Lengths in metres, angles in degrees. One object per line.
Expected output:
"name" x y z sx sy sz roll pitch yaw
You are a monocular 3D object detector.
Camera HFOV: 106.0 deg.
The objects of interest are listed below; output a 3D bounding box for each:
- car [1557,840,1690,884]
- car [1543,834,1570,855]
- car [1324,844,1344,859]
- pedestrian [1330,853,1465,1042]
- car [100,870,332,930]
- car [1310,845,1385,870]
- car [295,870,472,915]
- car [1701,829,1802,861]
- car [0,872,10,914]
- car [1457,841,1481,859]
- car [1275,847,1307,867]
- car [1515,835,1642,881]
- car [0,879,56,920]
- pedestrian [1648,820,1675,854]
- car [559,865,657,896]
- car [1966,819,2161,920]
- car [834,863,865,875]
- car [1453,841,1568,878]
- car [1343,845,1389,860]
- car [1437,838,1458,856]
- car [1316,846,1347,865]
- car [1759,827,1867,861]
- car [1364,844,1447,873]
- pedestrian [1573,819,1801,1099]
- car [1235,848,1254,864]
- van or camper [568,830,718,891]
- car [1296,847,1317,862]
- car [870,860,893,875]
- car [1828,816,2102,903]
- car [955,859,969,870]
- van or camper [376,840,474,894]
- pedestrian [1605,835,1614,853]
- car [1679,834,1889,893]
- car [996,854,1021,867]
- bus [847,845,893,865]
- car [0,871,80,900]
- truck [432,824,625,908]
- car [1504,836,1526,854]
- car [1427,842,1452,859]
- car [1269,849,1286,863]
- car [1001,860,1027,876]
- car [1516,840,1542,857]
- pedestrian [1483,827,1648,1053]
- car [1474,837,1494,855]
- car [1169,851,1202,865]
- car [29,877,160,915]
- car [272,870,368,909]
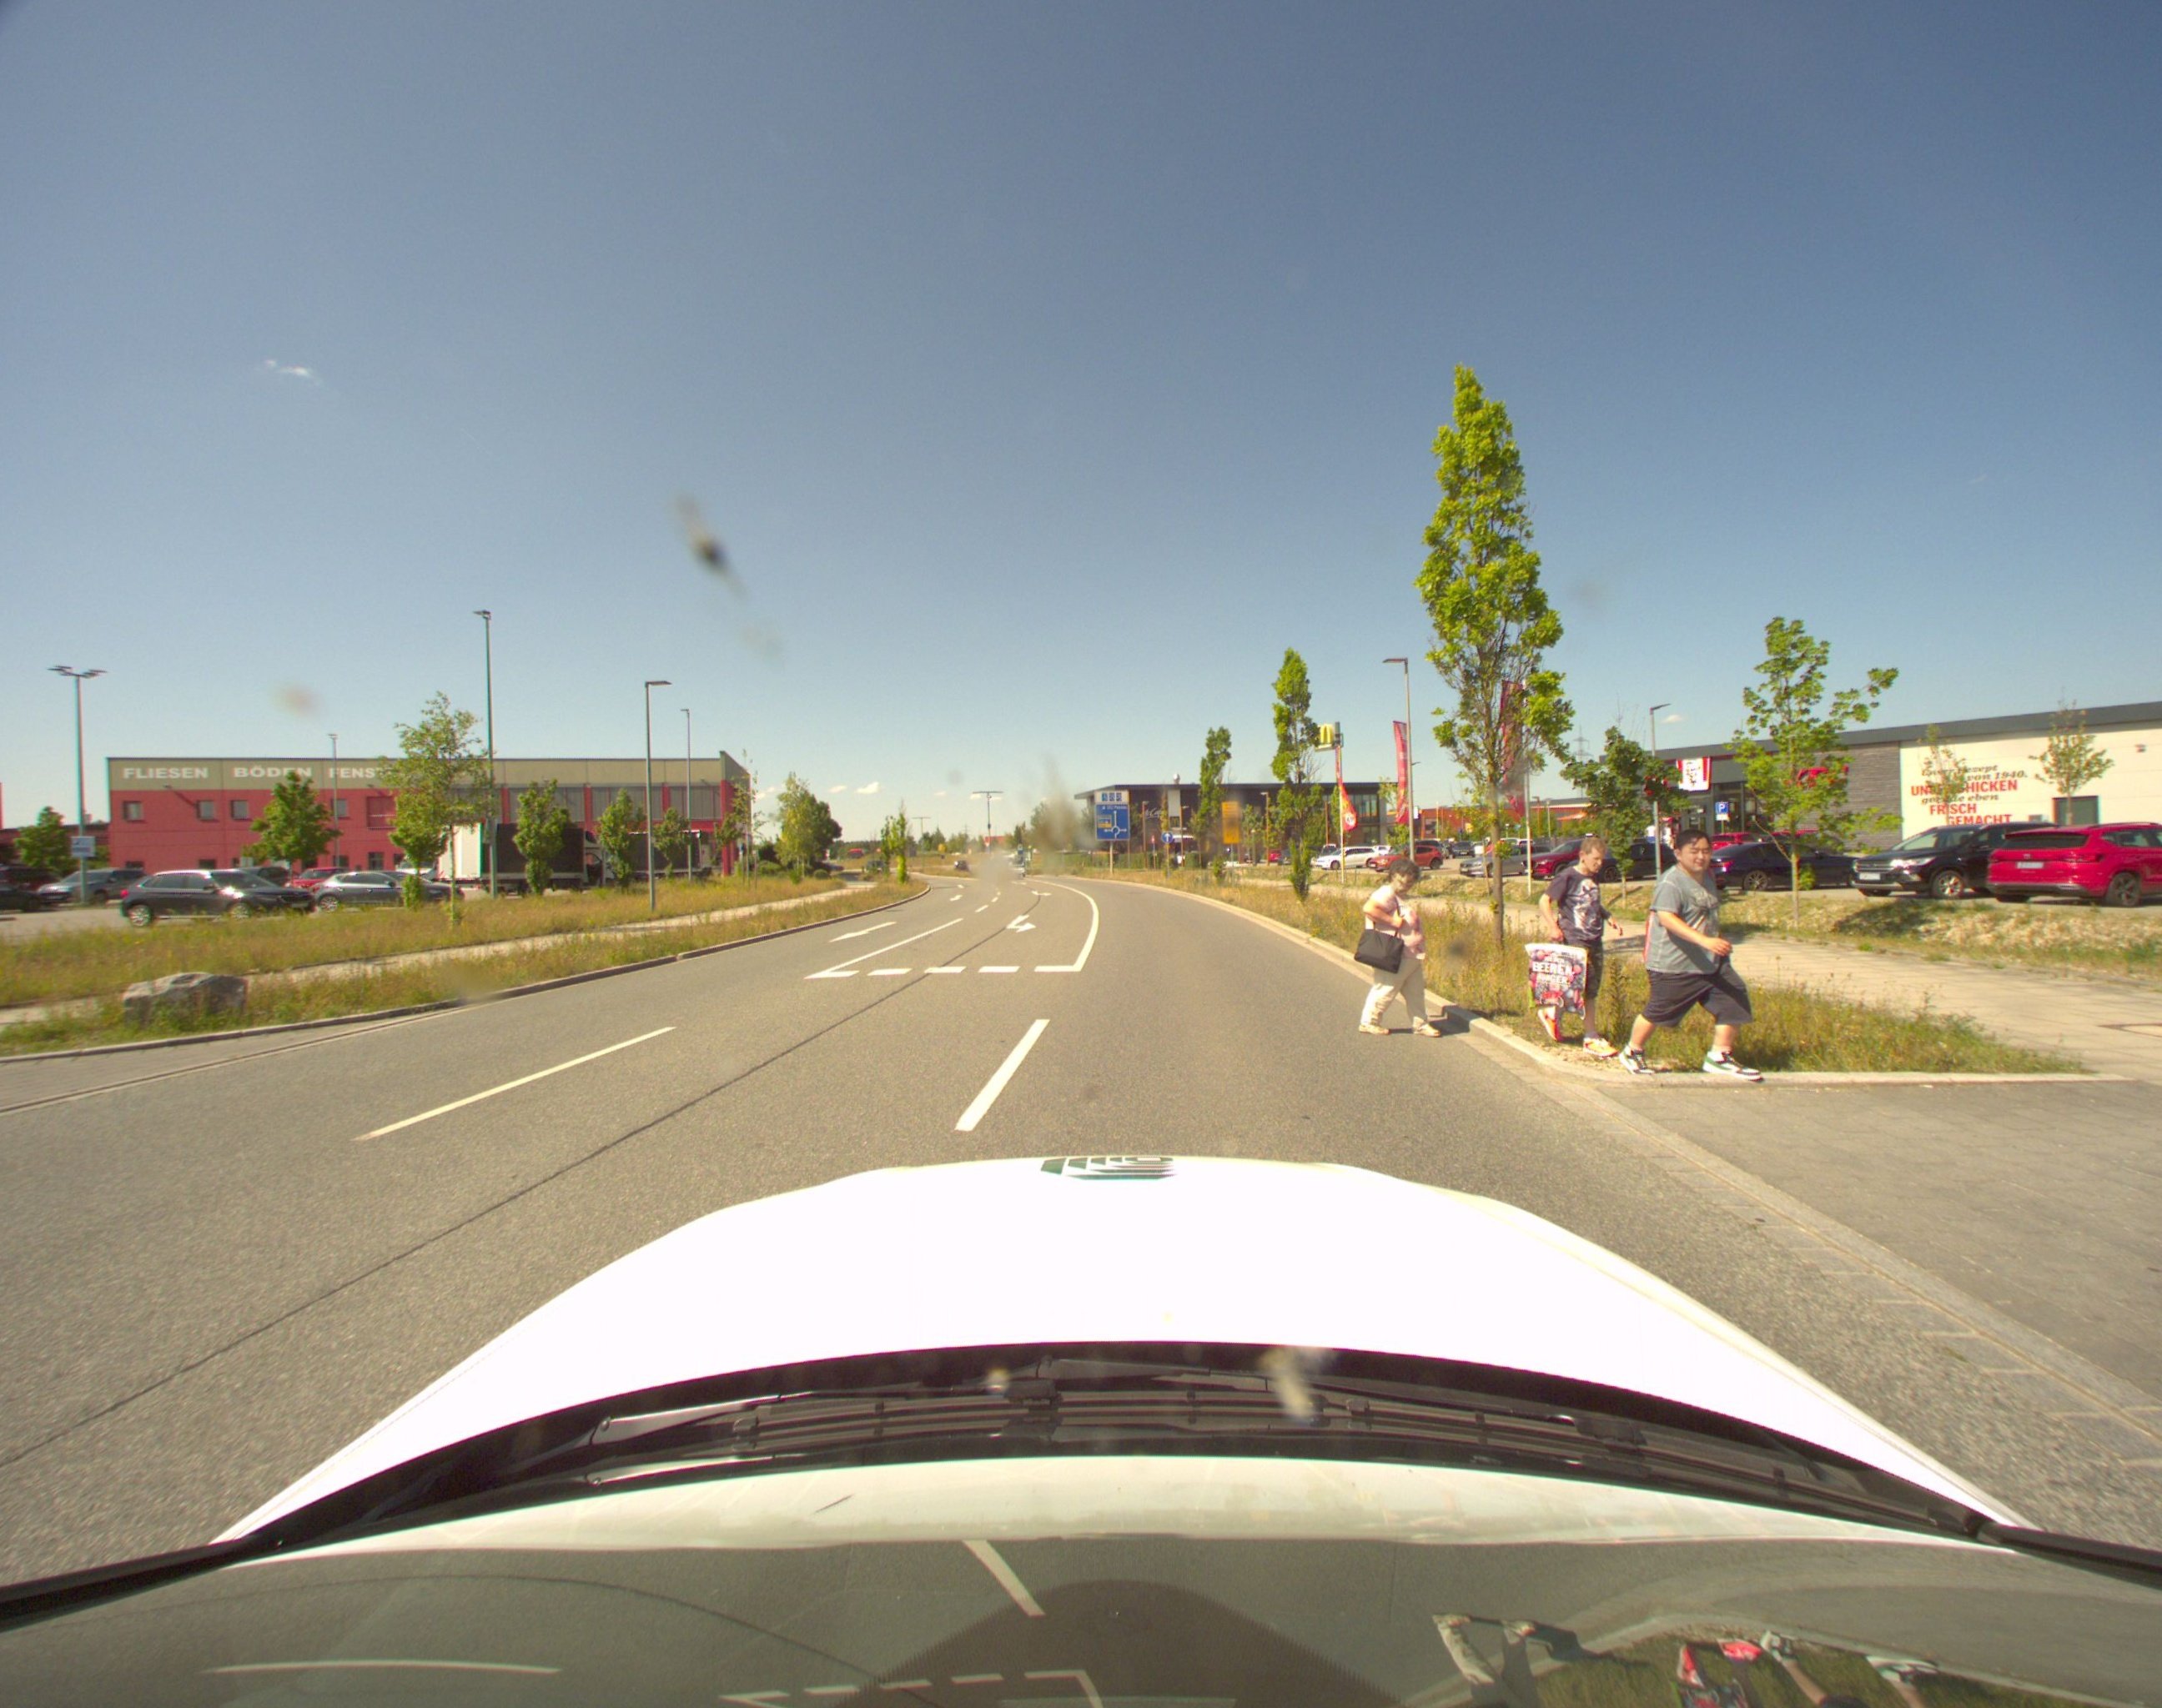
"car" 20.901 0.275 31.441 4.153 1.449 1.786 -3 0 -9
"car" 43.457 -0.882 74.453 1.769 1.757 4.194 -2 0 26
"car" 29.074 -0.313 93.525 1.776 1.702 4.023 -2 0 24
"pedestrian" 2.611 0.733 6.829 0.789 1.470 0.950 -1 0 4
"car" -24.758 1.286 23.446 4.564 1.458 1.836 -2 0 -2
"car" 18.274 0.256 55.837 4.527 1.490 1.862 -2 0 -11
"car" -24.420 1.328 28.647 4.412 1.383 1.974 -2 0 -2
"car" 34.592 -0.448 42.037 4.568 1.431 1.857 -3 0 -18
"car" -51.060 1.825 36.309 1.837 1.994 4.354 -2 0 -18
"car" 34.078 -0.393 71.514 1.769 1.451 4.194 -2 0 26
"car" 17.136 0.231 66.294 1.681 1.462 4.194 -2 0 26
"car" 20.614 0.162 33.837 4.144 1.665 1.867 -3 0 -3
"car" -44.010 1.858 32.438 1.837 1.562 4.354 -2 0 -18
"pedestrian" 35.093 -1.039 49.234 0.914 2.013 0.887 -2 0 -14
"car" -26.699 1.469 46.129 4.372 1.552 1.830 -2 0 -13
"car" 20.513 0.244 16.187 4.404 1.734 1.786 -3 0 -9
"car" -31.898 2.013 112.139 3.752 1.517 1.783 -2 0 25
"car" 20.301 0.235 38.578 4.551 1.490 1.864 -3 0 -7
"car" 27.810 -0.140 79.533 3.949 1.373 1.810 -2 0 29
"car" 36.659 -0.696 81.427 1.769 1.757 4.194 -2 0 26
"car" 20.776 0.087 67.527 1.769 1.462 4.194 -2 0 26
"car" 35.476 -0.472 39.487 4.568 1.431 1.857 -3 0 -18
"car" 19.271 0.258 48.418 4.205 1.490 1.862 -2 0 -11
"pedestrian" 3.813 0.619 5.212 0.805 1.628 0.867 -1 0 4
"car" 18.181 0.199 90.426 1.780 1.604 4.015 -2 0 13
"van or camper" -27.004 0.357 50.536 7.698 3.468 2.545 -2 0 -12
"car" 25.451 0.052 91.925 1.777 1.513 4.022 -2 0 23
"car" -25.898 1.734 105.522 1.962 1.794 4.388 -3 0 -26
"car" 20.476 0.109 18.999 4.391 1.734 1.791 -3 0 0
"car" -15.407 1.344 105.538 1.617 1.434 3.779 -2 0 -10
"van or camper" -43.190 0.865 53.903 2.436 3.271 7.193 -2 0 -17
"pedestrian" 37.722 -0.736 58.149 0.380 1.240 0.291 -2 -1 -19
"car" 20.277 0.270 23.657 4.384 1.449 1.794 -3 0 5
"car" -12.585 1.132 140.928 3.967 2.013 1.838 -2 0 6
"bus" -39.207 0.045 151.823 2.767 3.078 12.251 -2 2 14
"car" -61.069 1.827 47.334 1.666 1.587 4.058 -2 0 -18
"truck" -25.150 0.497 37.623 2.299 3.464 7.527 -2 0 17
"car" 45.475 -0.906 85.317 1.769 1.757 4.194 -2 0 26
"car" 31.154 -0.323 70.772 1.769 1.451 4.194 -2 0 26
"car" 21.895 0.177 90.862 1.780 1.434 4.015 -2 0 13
"car" -6.073 1.251 73.434 1.620 1.434 3.771 -2 0 -16
"car" 40.635 -0.549 73.949 1.769 1.451 4.194 -2 0 26
"pedestrian" 3.703 0.626 6.302 0.797 1.629 0.805 -1 0 4
"car" 41.666 -0.816 84.318 1.769 1.757 4.194 -2 0 26
"car" 10.791 0.430 84.450 1.797 1.434 3.976 -2 0 -17
"car" -46.142 1.926 38.240 1.837 1.562 4.354 -2 0 -18
"car" -38.283 1.721 41.131 1.837 1.773 4.354 -2 0 -18
